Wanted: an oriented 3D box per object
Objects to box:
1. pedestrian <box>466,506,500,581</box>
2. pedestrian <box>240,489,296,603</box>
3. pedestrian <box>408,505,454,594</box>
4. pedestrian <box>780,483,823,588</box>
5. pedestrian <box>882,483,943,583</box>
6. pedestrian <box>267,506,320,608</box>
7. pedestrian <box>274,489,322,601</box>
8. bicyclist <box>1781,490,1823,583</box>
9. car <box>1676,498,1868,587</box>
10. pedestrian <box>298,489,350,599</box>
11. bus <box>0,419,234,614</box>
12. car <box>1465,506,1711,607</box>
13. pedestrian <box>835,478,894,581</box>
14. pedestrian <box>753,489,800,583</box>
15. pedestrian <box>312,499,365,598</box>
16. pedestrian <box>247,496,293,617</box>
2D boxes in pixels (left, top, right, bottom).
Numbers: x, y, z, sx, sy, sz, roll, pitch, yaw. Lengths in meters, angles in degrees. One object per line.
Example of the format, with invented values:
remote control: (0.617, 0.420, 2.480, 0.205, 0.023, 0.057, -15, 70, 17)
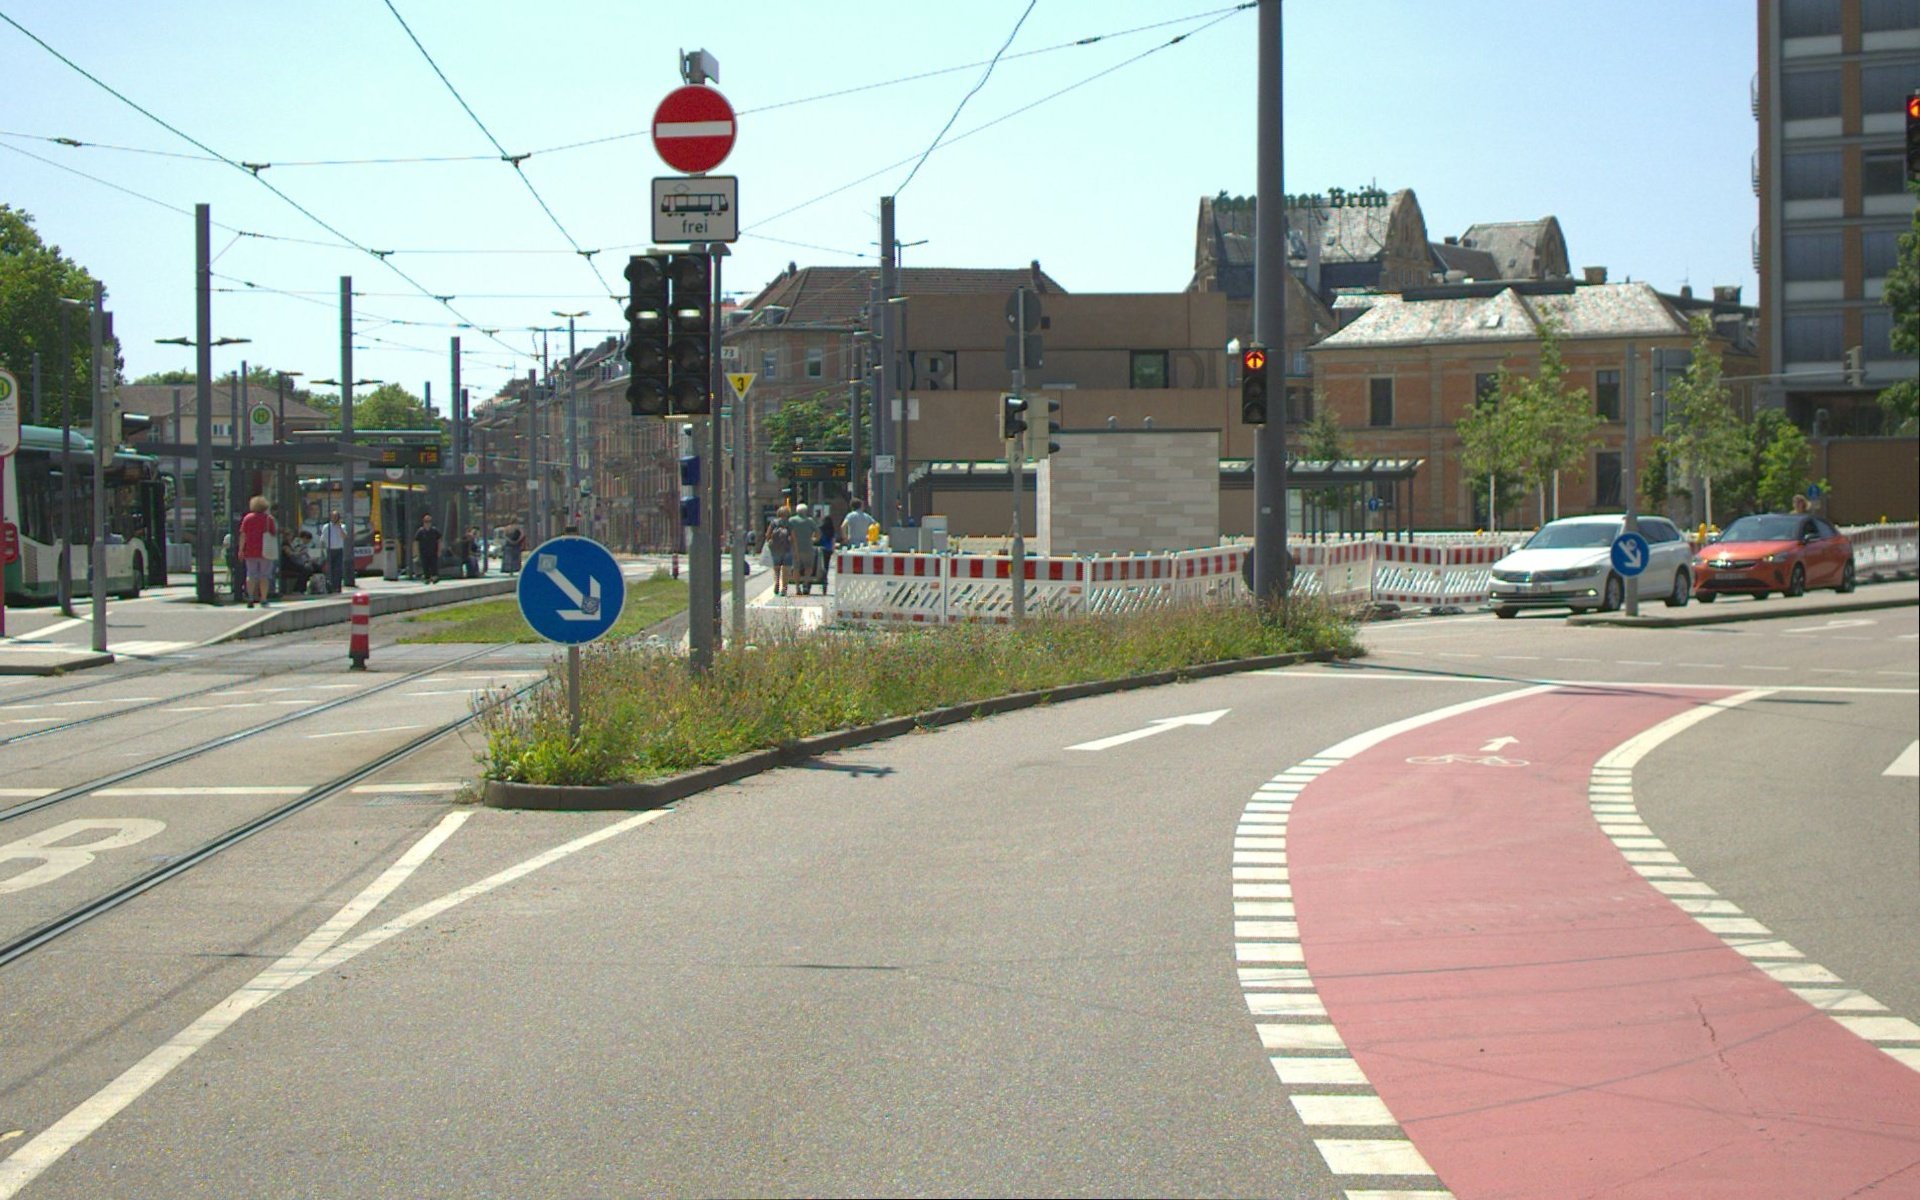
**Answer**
pedestrian: (-13.365, -1.592, 96.263, 0.829, 2.089, 0.902, -1, 1, -2)
pedestrian: (-12.264, -0.963, 60.942, 0.941, 1.983, 1.029, -1, 1, -11)
pedestrian: (-12.563, -1.208, 81.658, 0.899, 2.089, 0.831, -1, 1, 3)
pedestrian: (-2.934, -1.190, 63.443, 0.719, 1.917, 1.074, 0, 0, -7)
pedestrian: (-0.879, -1.236, 63.444, 0.976, 1.826, 0.634, -1, 1, -16)
pedestrian: (-12.149, -0.791, 62.655, 0.911, 1.845, 0.658, -1, 1, -11)
pedestrian: (-12.559, -1.049, 65.195, 0.823, 2.089, 0.642, -1, 1, -13)
bicyclist: (15.686, -1.176, 64.060, 0.568, 1.713, 0.506, 0, 2, 40)
car: (13.633, -0.967, 57.588, 1.734, 1.420, 4.115, 0, 1, 35)
pedestrian: (-12.224, -1.082, 66.061, 0.899, 2.089, 0.832, -1, 1, -13)
bus: (-16.761, -1.544, 64.248, 3.010, 3.147, 17.500, -1, 1, -1)
car: (9.414, -0.659, 51.239, 1.997, 1.433, 4.697, 0, 1, 32)
pedestrian: (-1.730, -1.268, 62.209, 0.765, 1.858, 0.730, 0, 1, -42)
pedestrian: (-3.332, -1.161, 62.417, 0.726, 1.701, 0.744, 0, 0, -13)
pedestrian: (-13.301, -1.101, 73.576, 0.899, 2.089, 0.831, -1, 1, 3)
pedestrian: (-10.910, -0.694, 54.356, 0.672, 1.903, 0.641, -1, 1, -11)
